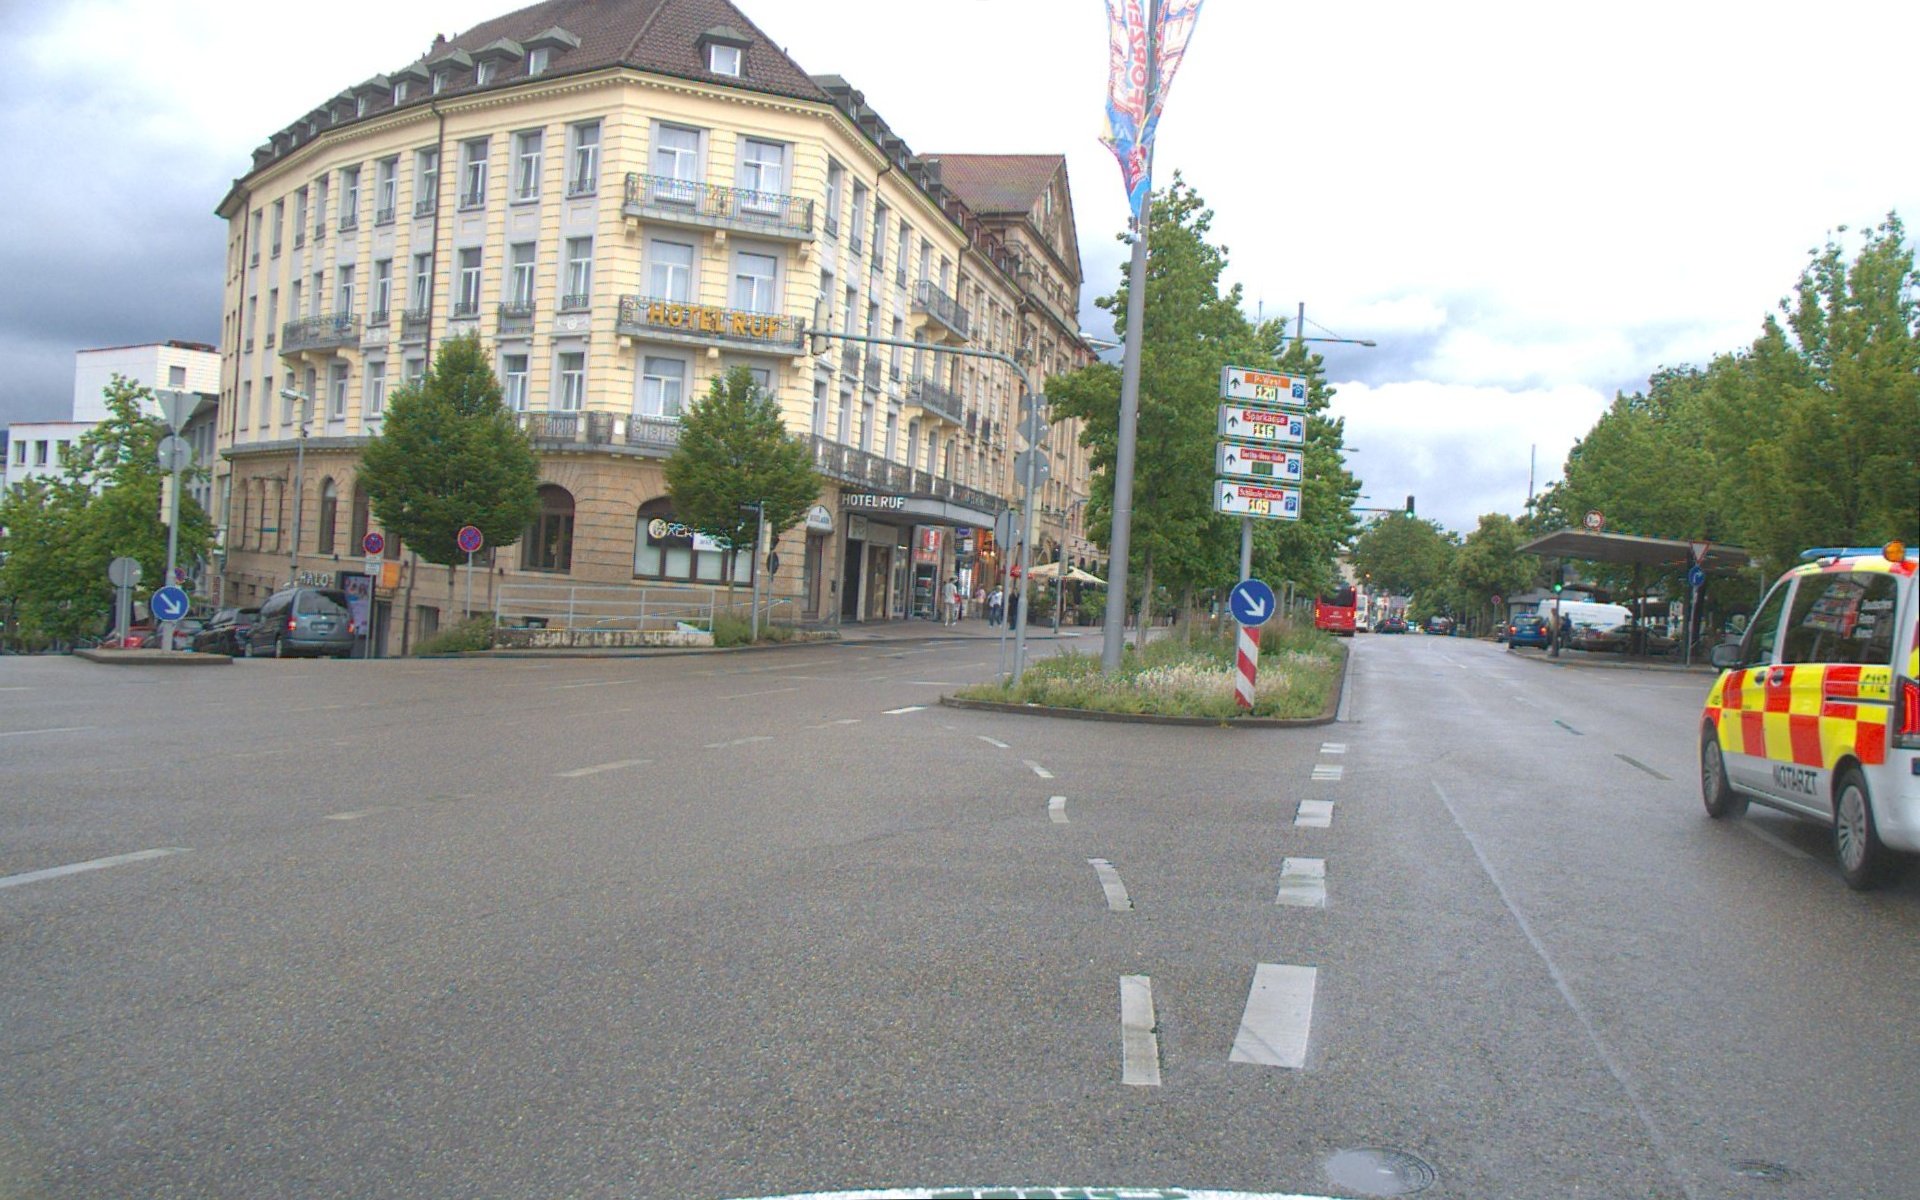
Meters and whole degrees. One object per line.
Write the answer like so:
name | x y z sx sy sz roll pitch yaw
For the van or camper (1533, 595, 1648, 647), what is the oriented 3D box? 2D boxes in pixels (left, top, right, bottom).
van or camper | 35.746 1.213 93.837 5.843 2.811 2.191 1 -1 -13

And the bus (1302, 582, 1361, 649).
bus | 24.115 1.025 107.230 3.469 4.049 11.180 1 -1 13

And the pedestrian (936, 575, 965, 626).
pedestrian | -0.356 0.029 61.264 0.860 1.844 0.751 1 -1 14

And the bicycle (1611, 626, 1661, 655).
bicycle | 26.324 1.564 64.426 1.791 1.074 0.420 1 -1 -4

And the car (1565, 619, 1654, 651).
car | 33.681 1.836 85.831 3.917 1.468 1.859 3 -1 -12

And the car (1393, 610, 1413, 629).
car | 48.014 2.127 179.346 1.951 2.049 4.003 1 -1 14

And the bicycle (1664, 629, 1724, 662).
bicycle | 24.587 1.527 55.425 1.788 1.074 0.421 1 -1 14

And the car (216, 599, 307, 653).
car | -20.275 0.731 47.915 1.616 1.422 3.951 2 0 -35

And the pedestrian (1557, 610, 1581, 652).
pedestrian | 27.368 1.398 74.321 0.838 1.867 1.191 2 -1 14

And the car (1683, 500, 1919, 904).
car | 6.292 0.568 10.688 1.951 2.049 5.066 1 -1 12

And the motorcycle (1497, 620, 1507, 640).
motorcycle | 36.416 2.013 111.109 0.583 1.310 1.954 1 0 20

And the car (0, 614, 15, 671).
car | -25.951 1.058 43.103 1.619 1.422 3.943 2 -1 -40

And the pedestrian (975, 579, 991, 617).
pedestrian | 1.018 -0.097 73.765 0.652 1.693 0.537 1 -1 6

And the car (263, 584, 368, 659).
car | -16.661 0.519 42.647 1.616 1.790 3.951 2 0 -35

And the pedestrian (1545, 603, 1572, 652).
pedestrian | 21.897 1.002 60.515 0.730 1.777 0.836 2 -1 6

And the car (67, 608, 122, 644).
car | -38.570 1.163 73.669 1.749 1.504 3.953 2 -1 -34

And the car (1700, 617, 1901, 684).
car | 22.295 1.298 44.084 1.735 1.573 4.739 2 -1 -25

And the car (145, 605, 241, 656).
car | -23.993 0.929 51.672 1.753 1.504 3.942 2 -1 -40

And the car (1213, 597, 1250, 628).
car | 19.017 0.897 115.734 1.951 2.049 5.004 1 -1 16

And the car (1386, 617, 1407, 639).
car | 43.451 2.782 164.635 1.951 2.049 4.003 1 -1 14

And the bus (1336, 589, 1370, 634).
bus | 34.780 1.018 146.644 2.745 3.812 10.453 1 -1 12

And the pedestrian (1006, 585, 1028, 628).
pedestrian | 2.261 0.266 65.431 0.667 1.693 0.807 1 -1 14

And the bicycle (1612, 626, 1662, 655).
bicycle | 26.170 1.556 63.953 1.791 1.074 0.420 1 -1 -4

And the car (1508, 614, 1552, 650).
car | 26.932 1.523 78.183 1.820 1.596 4.001 2 -1 18

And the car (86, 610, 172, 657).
car | -28.203 1.127 56.104 1.753 1.504 3.952 2 -1 -40

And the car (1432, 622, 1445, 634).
car | 63.936 3.726 221.143 1.561 1.588 3.652 1 -1 14

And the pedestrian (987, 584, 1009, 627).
pedestrian | 1.517 0.225 65.683 0.667 1.693 0.807 1 -1 17

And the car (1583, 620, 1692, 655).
car | 30.309 1.663 74.081 4.104 1.348 1.838 3 -1 -6
